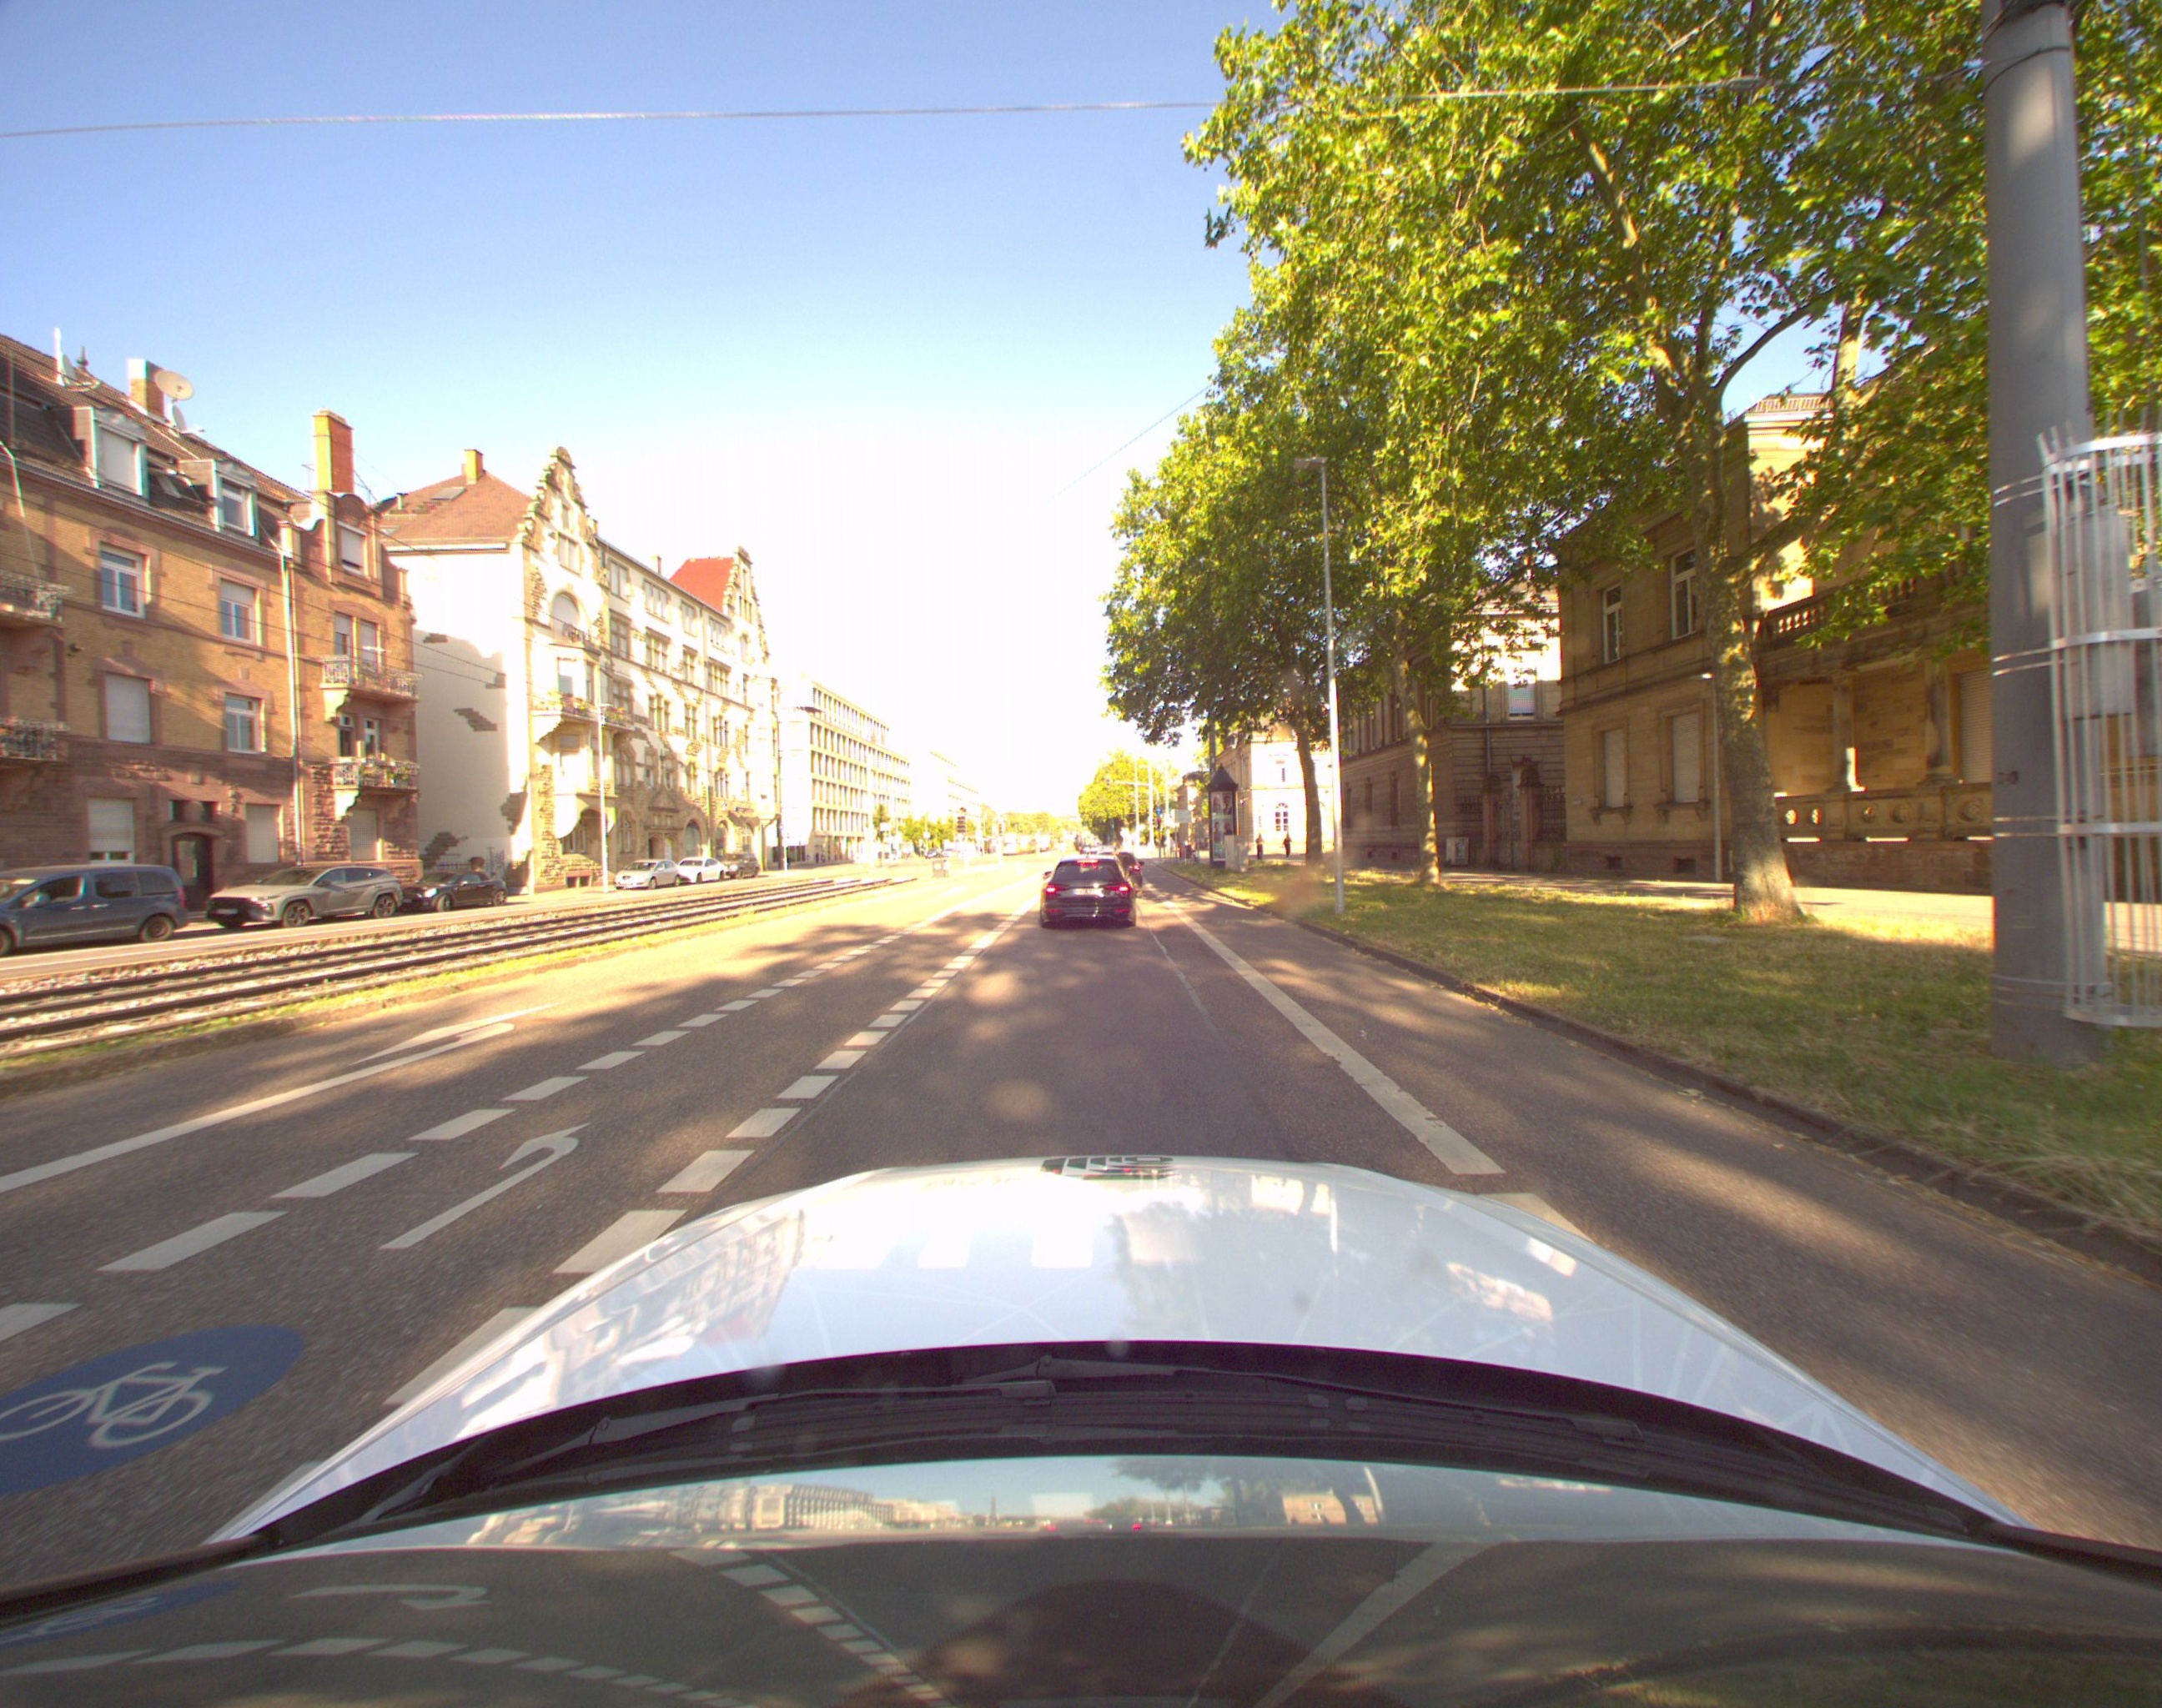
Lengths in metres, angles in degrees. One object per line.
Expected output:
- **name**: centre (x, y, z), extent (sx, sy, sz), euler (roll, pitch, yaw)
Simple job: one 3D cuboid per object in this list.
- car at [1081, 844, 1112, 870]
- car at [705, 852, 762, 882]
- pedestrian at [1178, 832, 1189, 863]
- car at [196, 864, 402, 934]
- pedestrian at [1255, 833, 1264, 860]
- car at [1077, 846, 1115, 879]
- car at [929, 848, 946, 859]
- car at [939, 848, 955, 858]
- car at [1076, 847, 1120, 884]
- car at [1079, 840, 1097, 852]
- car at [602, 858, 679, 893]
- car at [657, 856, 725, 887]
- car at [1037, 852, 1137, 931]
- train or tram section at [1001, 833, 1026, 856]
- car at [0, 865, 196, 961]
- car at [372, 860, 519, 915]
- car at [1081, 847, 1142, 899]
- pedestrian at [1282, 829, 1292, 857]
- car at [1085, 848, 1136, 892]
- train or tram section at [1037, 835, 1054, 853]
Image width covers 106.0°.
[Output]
- **car**: centre (1.014, 0.175, 50.957), extent (1.787, 1.510, 4.002), euler (-2, 1, 2)
- **car**: centre (-21.891, 0.762, 51.511), extent (1.788, 1.719, 4.185), euler (1, 1, 0)
- **pedestrian**: centre (5.782, -0.394, 45.879), extent (0.584, 1.728, 0.652), euler (0, 1, 14)
- **car**: centre (-21.831, 1.175, 23.009), extent (1.680, 1.652, 4.200), euler (1, 1, 1)
- **pedestrian**: centre (11.267, -0.468, 51.382), extent (0.584, 1.728, 0.652), euler (0, 1, 14)
- **car**: centre (0.809, 0.396, 41.616), extent (1.787, 1.510, 4.002), euler (-2, 1, 2)
- **car**: centre (-20.228, -0.099, 115.056), extent (1.789, 1.510, 3.998), euler (-2, 1, -1)
- **car**: centre (-20.481, -0.155, 124.677), extent (1.789, 1.510, 3.998), euler (-2, 1, -1)
- **car**: centre (0.783, 0.461, 35.892), extent (1.787, 1.510, 4.002), euler (-2, 1, 2)
- **car**: centre (0.909, -0.954, 104.950), extent (1.785, 1.510, 4.008), euler (0, 0, 7)
- **car**: centre (-21.767, 1.022, 40.453), extent (1.790, 1.510, 3.996), euler (1, 1, -3)
- **car**: centre (-21.923, 0.950, 45.942), extent (1.788, 1.510, 4.185), euler (1, 1, 0)
- **car**: centre (0.130, 0.699, 17.207), extent (1.827, 1.391, 4.159), euler (-1, 1, 1)
- **train or tram section**: centre (-10.506, -1.482, 127.886), extent (2.815, 3.450, 9.067), euler (-2, 1, 1)
- **car**: centre (-21.995, 1.184, 17.088), extent (1.786, 1.753, 4.460), euler (1, 1, 4)
- **car**: centre (-21.775, 1.081, 28.152), extent (1.680, 1.652, 4.200), euler (1, 1, 1)
- **car**: centre (0.990, 0.563, 26.559), extent (1.787, 1.510, 4.002), euler (-2, 1, 2)
- **pedestrian**: centre (12.922, -0.708, 51.108), extent (0.583, 1.728, 0.653), euler (0, 1, 16)
- **car**: centre (1.119, 0.561, 31.170), extent (1.787, 1.510, 4.002), euler (-2, 1, 2)
- **train or tram section**: centre (-6.897, -1.970, 159.437), extent (2.816, 3.450, 9.062), euler (-2, 1, 0)
